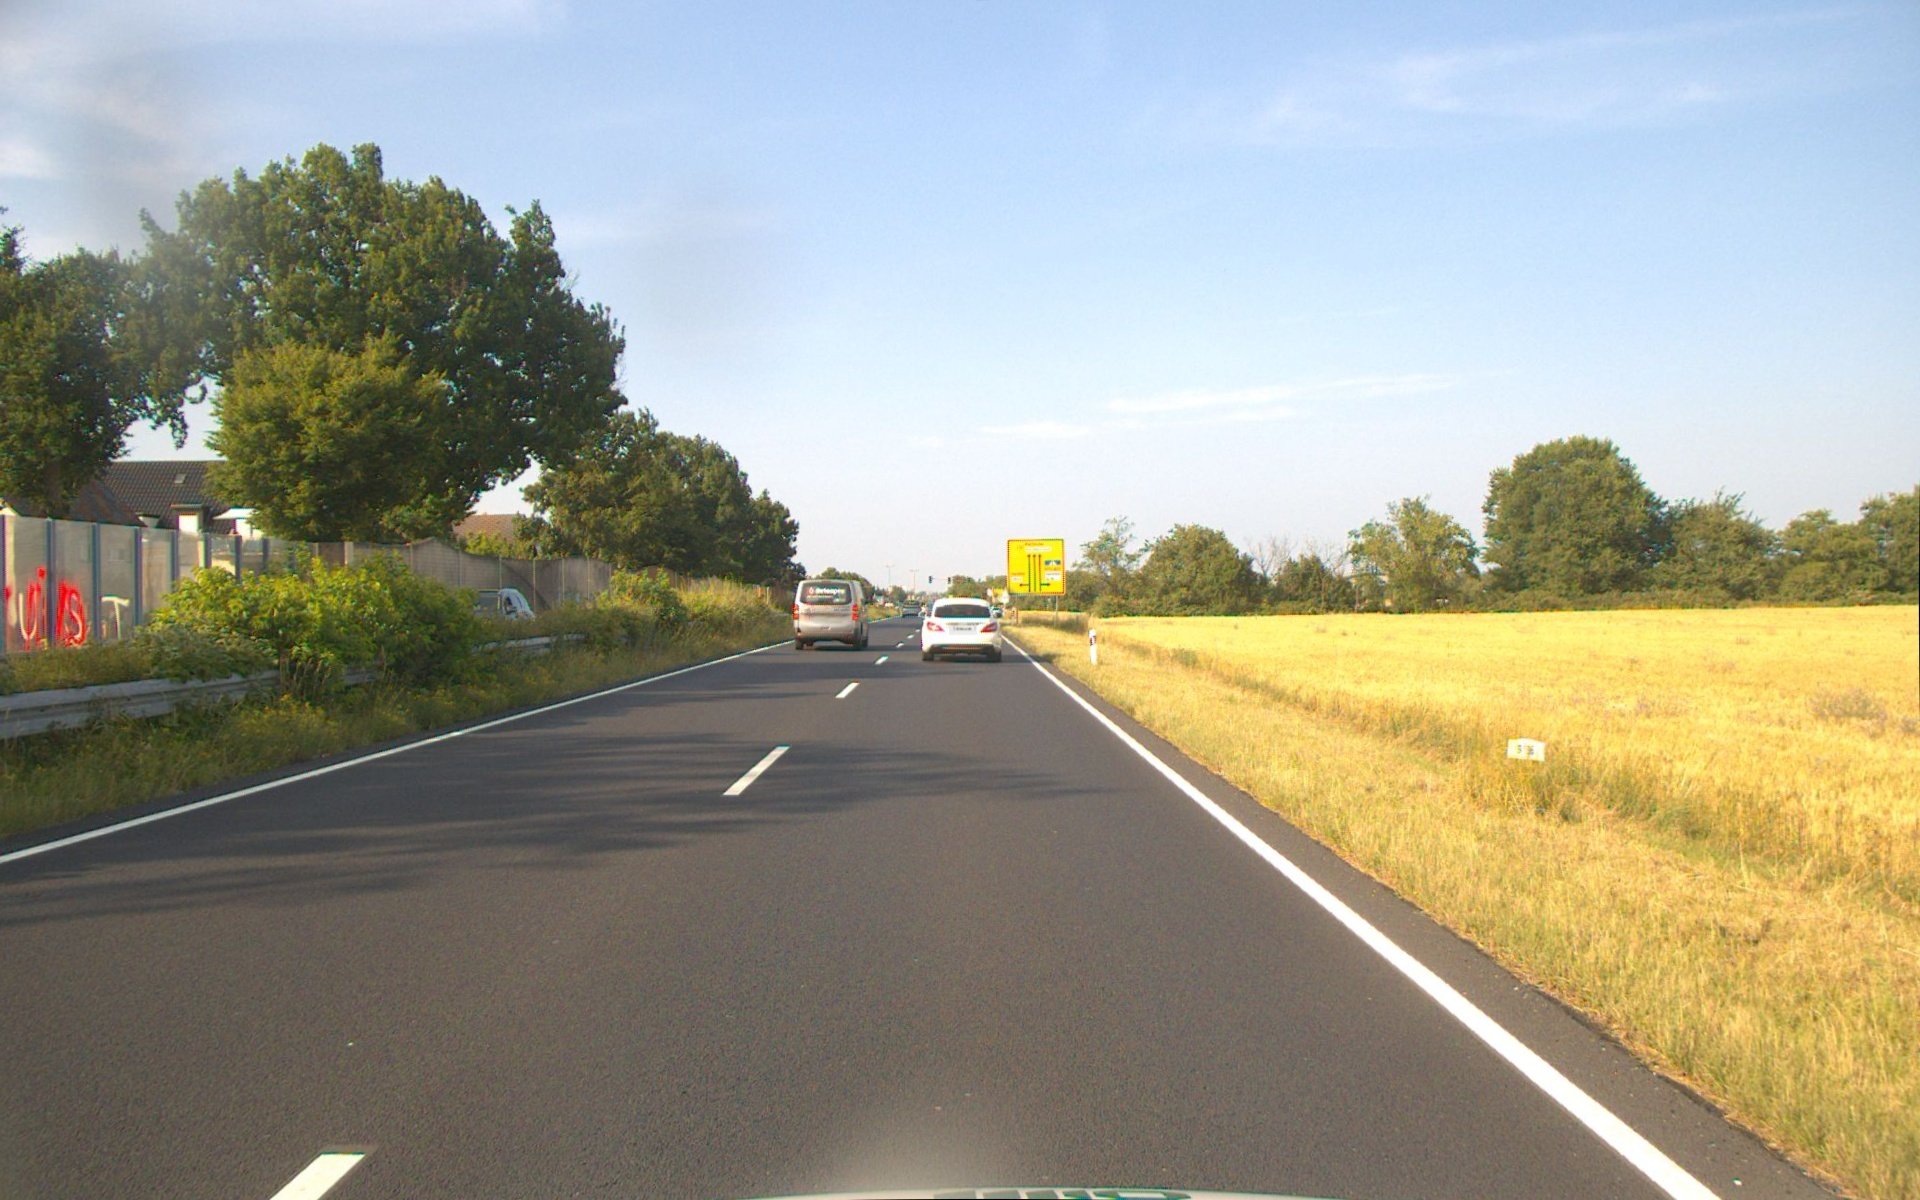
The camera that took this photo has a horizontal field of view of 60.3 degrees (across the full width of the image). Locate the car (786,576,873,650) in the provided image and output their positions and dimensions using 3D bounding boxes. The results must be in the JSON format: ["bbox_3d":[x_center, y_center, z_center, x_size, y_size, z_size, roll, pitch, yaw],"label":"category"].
[{"bbox_3d":[-3.583,0.331,46.288,1.984,1.925,4.958,1,0,0],"label":"car"}]

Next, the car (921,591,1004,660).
[{"bbox_3d":[0.030,0.588,39.020,1.856,1.535,3.999,0,0,-1],"label":"car"}]

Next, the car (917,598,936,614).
[{"bbox_3d":[-3.406,0.616,168.948,1.839,1.680,3.662,1,0,-2],"label":"car"}]

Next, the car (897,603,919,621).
[{"bbox_3d":[-4.393,1.001,140.012,1.682,1.518,3.584,1,0,0],"label":"car"}]

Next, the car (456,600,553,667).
[{"bbox_3d":[-10.651,0.774,38.836,1.388,1.488,3.146,1,0,0],"label":"car"}]
